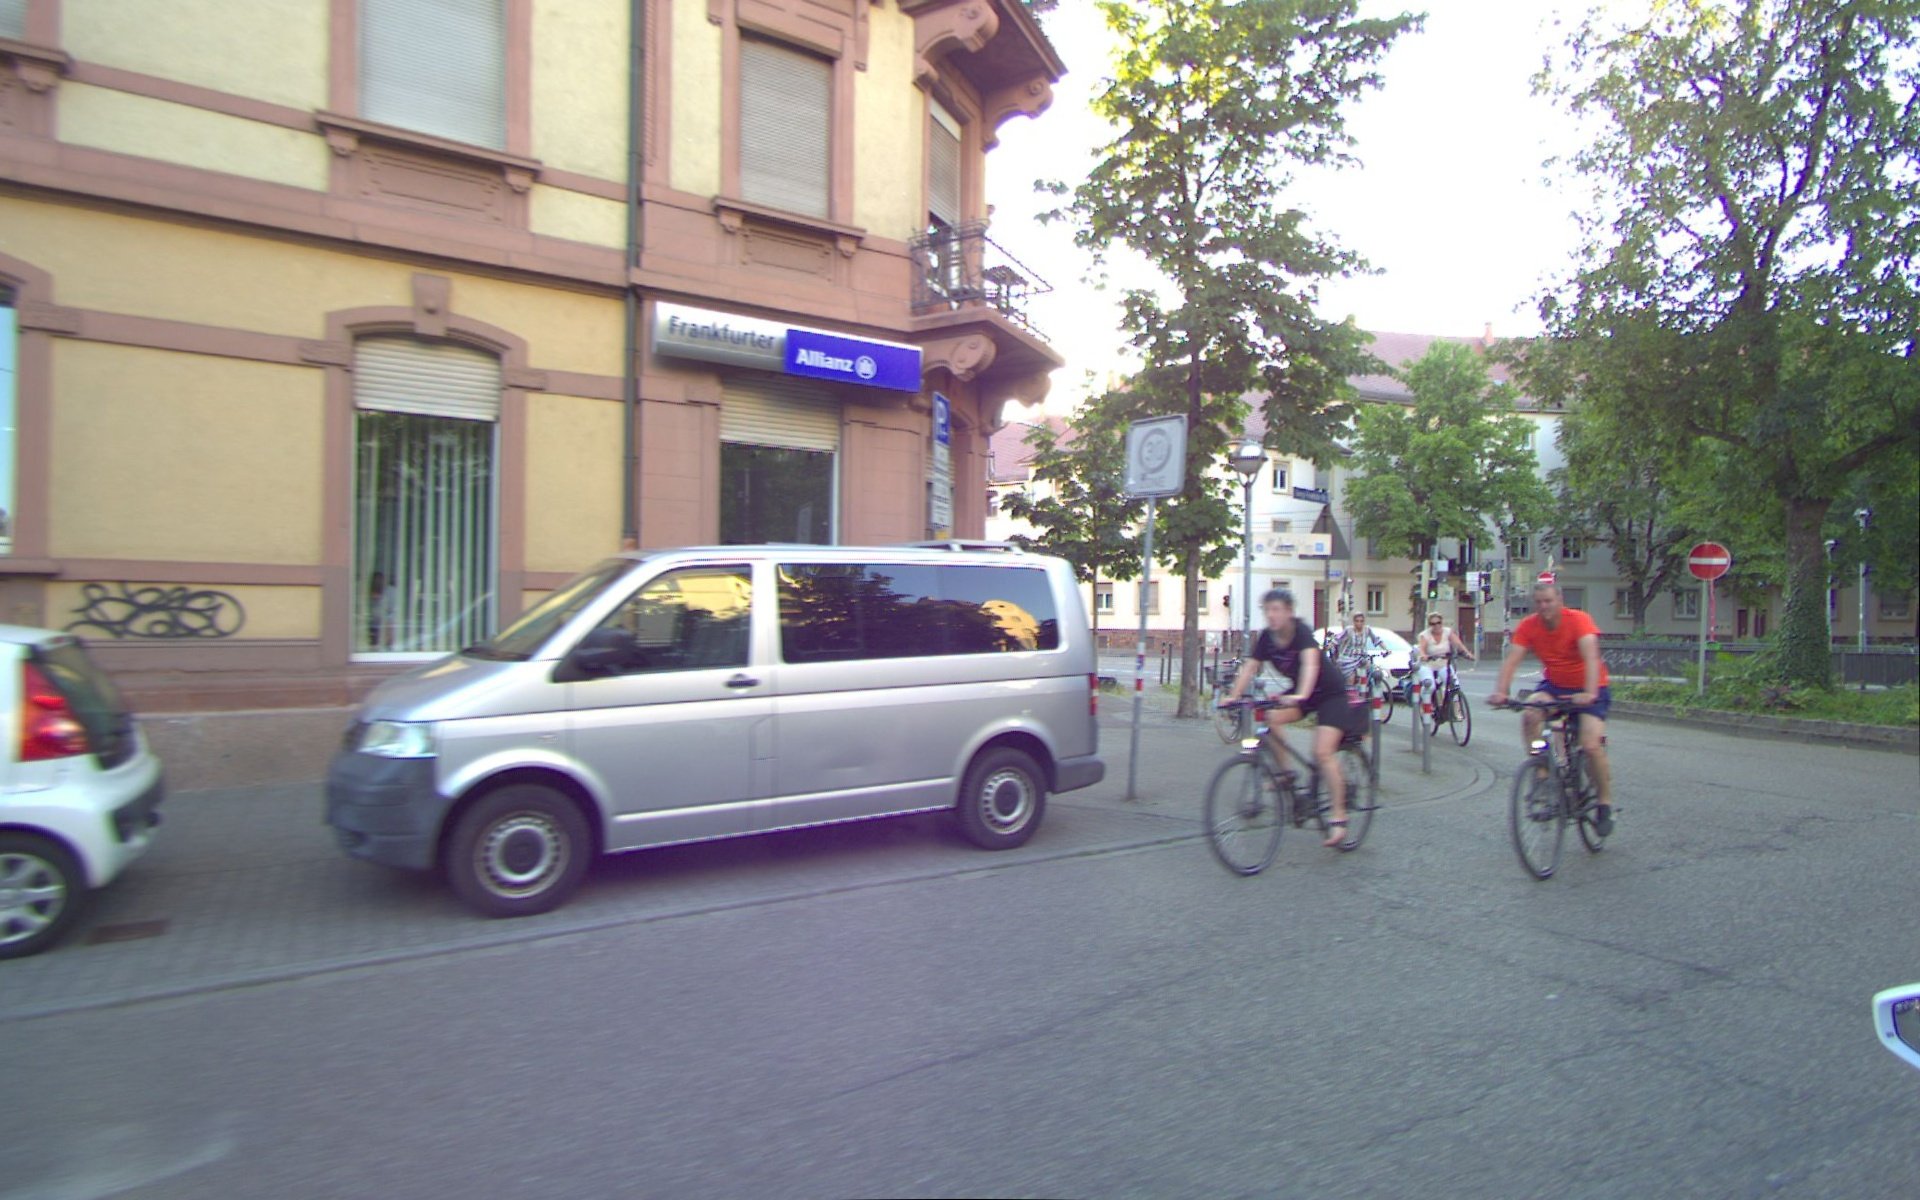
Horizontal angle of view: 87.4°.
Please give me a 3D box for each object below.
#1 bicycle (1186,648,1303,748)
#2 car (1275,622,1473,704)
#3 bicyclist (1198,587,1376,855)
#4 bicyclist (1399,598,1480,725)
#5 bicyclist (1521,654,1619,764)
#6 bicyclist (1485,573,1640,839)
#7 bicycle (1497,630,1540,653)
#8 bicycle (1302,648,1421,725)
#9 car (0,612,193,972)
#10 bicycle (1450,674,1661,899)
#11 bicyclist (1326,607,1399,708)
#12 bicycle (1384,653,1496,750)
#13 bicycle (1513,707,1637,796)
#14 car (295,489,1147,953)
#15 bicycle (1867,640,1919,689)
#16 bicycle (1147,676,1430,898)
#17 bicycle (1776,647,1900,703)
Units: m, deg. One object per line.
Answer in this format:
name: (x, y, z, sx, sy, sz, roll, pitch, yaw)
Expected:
bicycle: (3.534, 1.164, 12.390, 1.786, 1.097, 0.553, 1, 0, -44)
car: (8.701, 1.264, 21.664, 1.962, 1.537, 4.838, 1, -1, -5)
bicyclist: (2.066, 0.707, 6.344, 0.859, 1.546, 0.708, 1, -1, -37)
bicyclist: (6.284, 0.790, 13.213, 0.712, 1.604, 0.876, 0, -1, 6)
bicyclist: (5.946, 1.042, 9.824, 0.635, 0.990, 0.730, 0, -1, 15)
bicyclist: (3.823, 0.624, 6.364, 0.861, 1.546, 0.646, 1, -1, -44)
bicycle: (29.485, 2.174, 53.065, 1.881, 1.167, 0.687, 0, -1, 4)
bicycle: (6.421, 1.355, 16.147, 0.676, 1.109, 1.797, 1, -1, -26)
car: (-5.707, 0.825, 4.375, 3.573, 1.511, 1.675, 1, 1, -32)
bicycle: (3.830, 1.082, 6.379, 2.000, 1.122, 0.643, 1, -1, -44)
bicyclist: (6.447, 0.904, 16.105, 0.670, 1.565, 0.869, 1, -1, -27)
bicycle: (6.286, 1.291, 13.271, 0.714, 1.109, 2.049, 0, -1, 7)
bicycle: (5.928, 1.434, 9.760, 0.638, 0.651, 1.464, 0, -1, 15)
car: (-1.342, 0.565, 6.651, 4.946, 2.084, 2.030, 1, 1, -31)
bicycle: (21.952, 1.478, 22.928, 1.826, 1.065, 0.544, 0, -1, 38)
bicycle: (2.139, 1.092, 6.403, 1.996, 1.122, 0.715, 1, -1, -37)
bicycle: (19.966, 1.680, 22.910, 2.081, 1.167, 0.684, 0, -1, 37)
